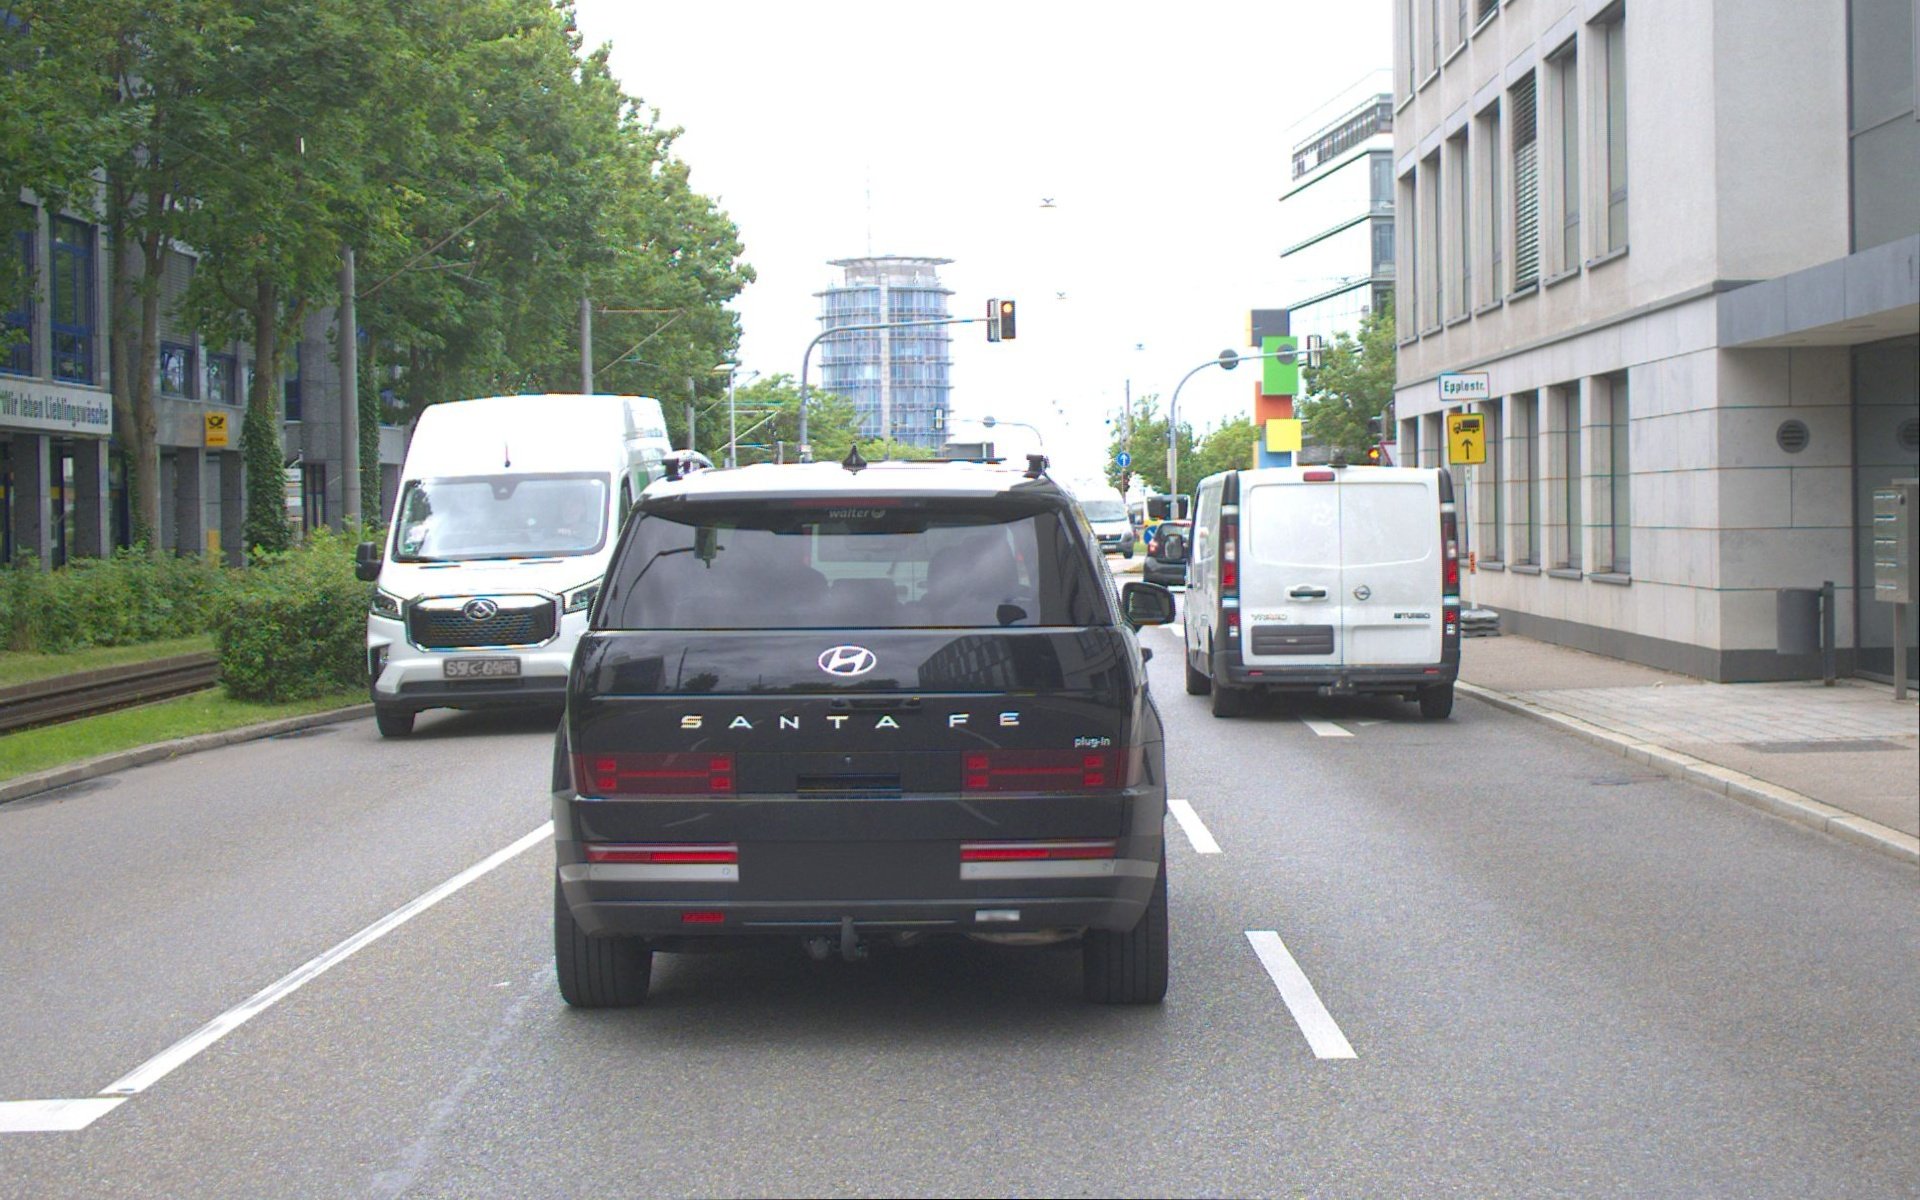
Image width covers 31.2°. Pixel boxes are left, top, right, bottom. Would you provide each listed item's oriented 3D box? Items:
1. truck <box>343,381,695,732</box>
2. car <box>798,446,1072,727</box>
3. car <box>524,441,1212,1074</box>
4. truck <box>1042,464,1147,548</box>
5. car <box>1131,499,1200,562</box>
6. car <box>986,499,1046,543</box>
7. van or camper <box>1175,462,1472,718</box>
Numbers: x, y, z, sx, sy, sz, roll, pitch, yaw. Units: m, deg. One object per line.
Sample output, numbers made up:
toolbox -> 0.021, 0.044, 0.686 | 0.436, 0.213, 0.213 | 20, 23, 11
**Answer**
truck -> -3.555, -0.416, 28.882 | 2.165, 2.606, 5.797 | -1, 2, 0
car -> -0.282, -0.169, 26.951 | 1.931, 1.987, 4.536 | -1, 2, -3
car -> -0.423, 0.385, 11.844 | 1.908, 1.743, 4.398 | -1, 1, -4
truck -> 4.596, -3.236, 118.723 | 2.331, 2.738, 6.489 | -2, 2, -9
car -> 5.446, -1.856, 90.807 | 1.759, 1.603, 4.188 | -1, 2, 4
car -> 2.139, -3.046, 132.163 | 1.993, 1.613, 4.001 | -2, 2, -3
van or camper -> 2.842, -0.145, 27.773 | 1.993, 1.909, 4.332 | 0, 2, 1
